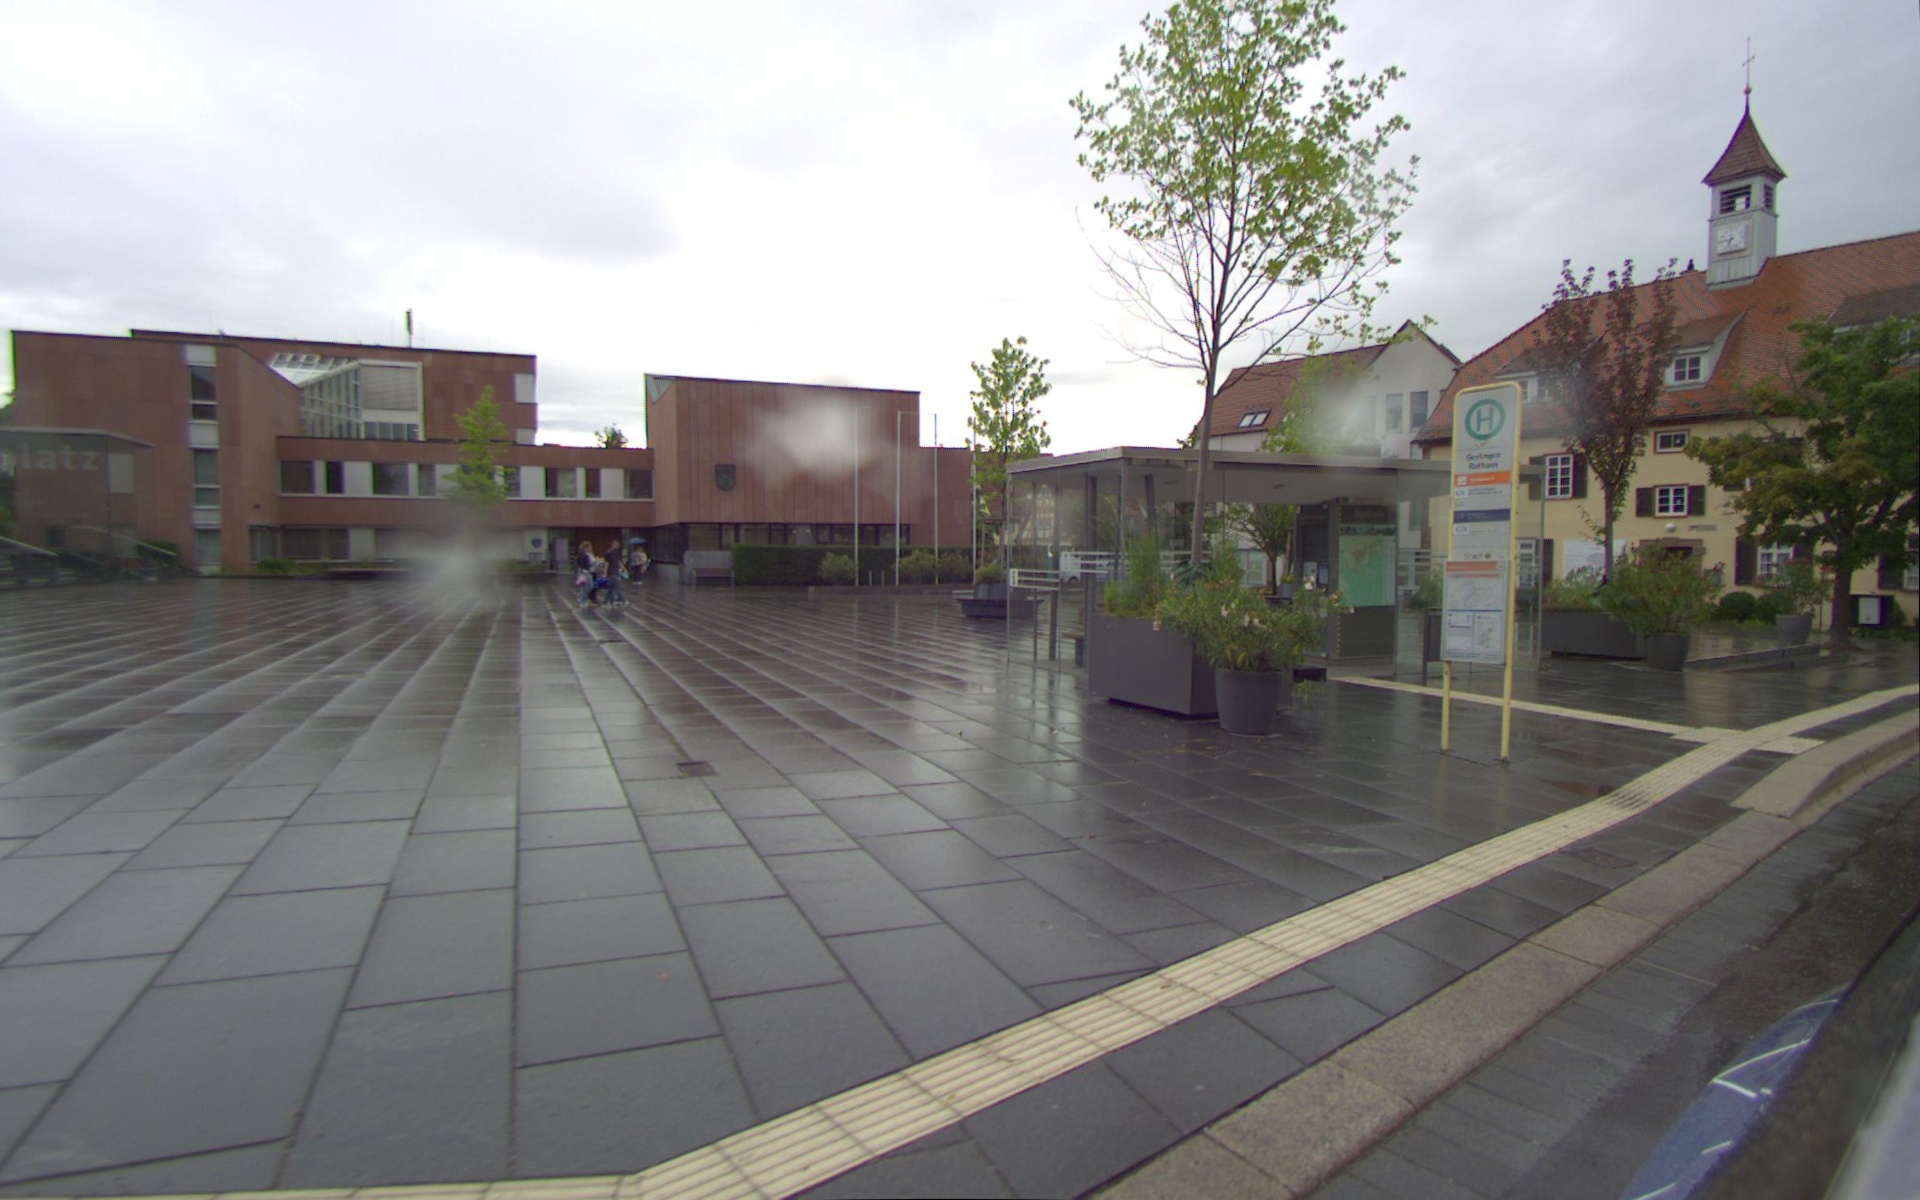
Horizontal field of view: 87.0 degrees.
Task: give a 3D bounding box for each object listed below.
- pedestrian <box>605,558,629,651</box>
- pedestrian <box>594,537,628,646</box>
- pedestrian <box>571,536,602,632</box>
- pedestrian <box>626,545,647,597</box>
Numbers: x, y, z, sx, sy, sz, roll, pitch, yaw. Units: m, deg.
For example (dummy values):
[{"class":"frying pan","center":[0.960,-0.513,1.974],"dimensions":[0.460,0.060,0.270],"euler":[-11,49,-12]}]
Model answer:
[{"class":"pedestrian","center":[-9.339,0.109,27.541],"dimensions":[0.557,2.468,0.738],"euler":[0,3,-23]},{"class":"pedestrian","center":[-8.949,-0.249,25.974],"dimensions":[0.814,2.716,1.060],"euler":[0,3,-19]},{"class":"pedestrian","center":[-9.892,-0.437,26.820],"dimensions":[0.760,2.468,0.946],"euler":[0,3,-21]},{"class":"pedestrian","center":[-14.657,-1.319,45.864],"dimensions":[0.783,2.336,0.906],"euler":[-1,3,-27]}]
